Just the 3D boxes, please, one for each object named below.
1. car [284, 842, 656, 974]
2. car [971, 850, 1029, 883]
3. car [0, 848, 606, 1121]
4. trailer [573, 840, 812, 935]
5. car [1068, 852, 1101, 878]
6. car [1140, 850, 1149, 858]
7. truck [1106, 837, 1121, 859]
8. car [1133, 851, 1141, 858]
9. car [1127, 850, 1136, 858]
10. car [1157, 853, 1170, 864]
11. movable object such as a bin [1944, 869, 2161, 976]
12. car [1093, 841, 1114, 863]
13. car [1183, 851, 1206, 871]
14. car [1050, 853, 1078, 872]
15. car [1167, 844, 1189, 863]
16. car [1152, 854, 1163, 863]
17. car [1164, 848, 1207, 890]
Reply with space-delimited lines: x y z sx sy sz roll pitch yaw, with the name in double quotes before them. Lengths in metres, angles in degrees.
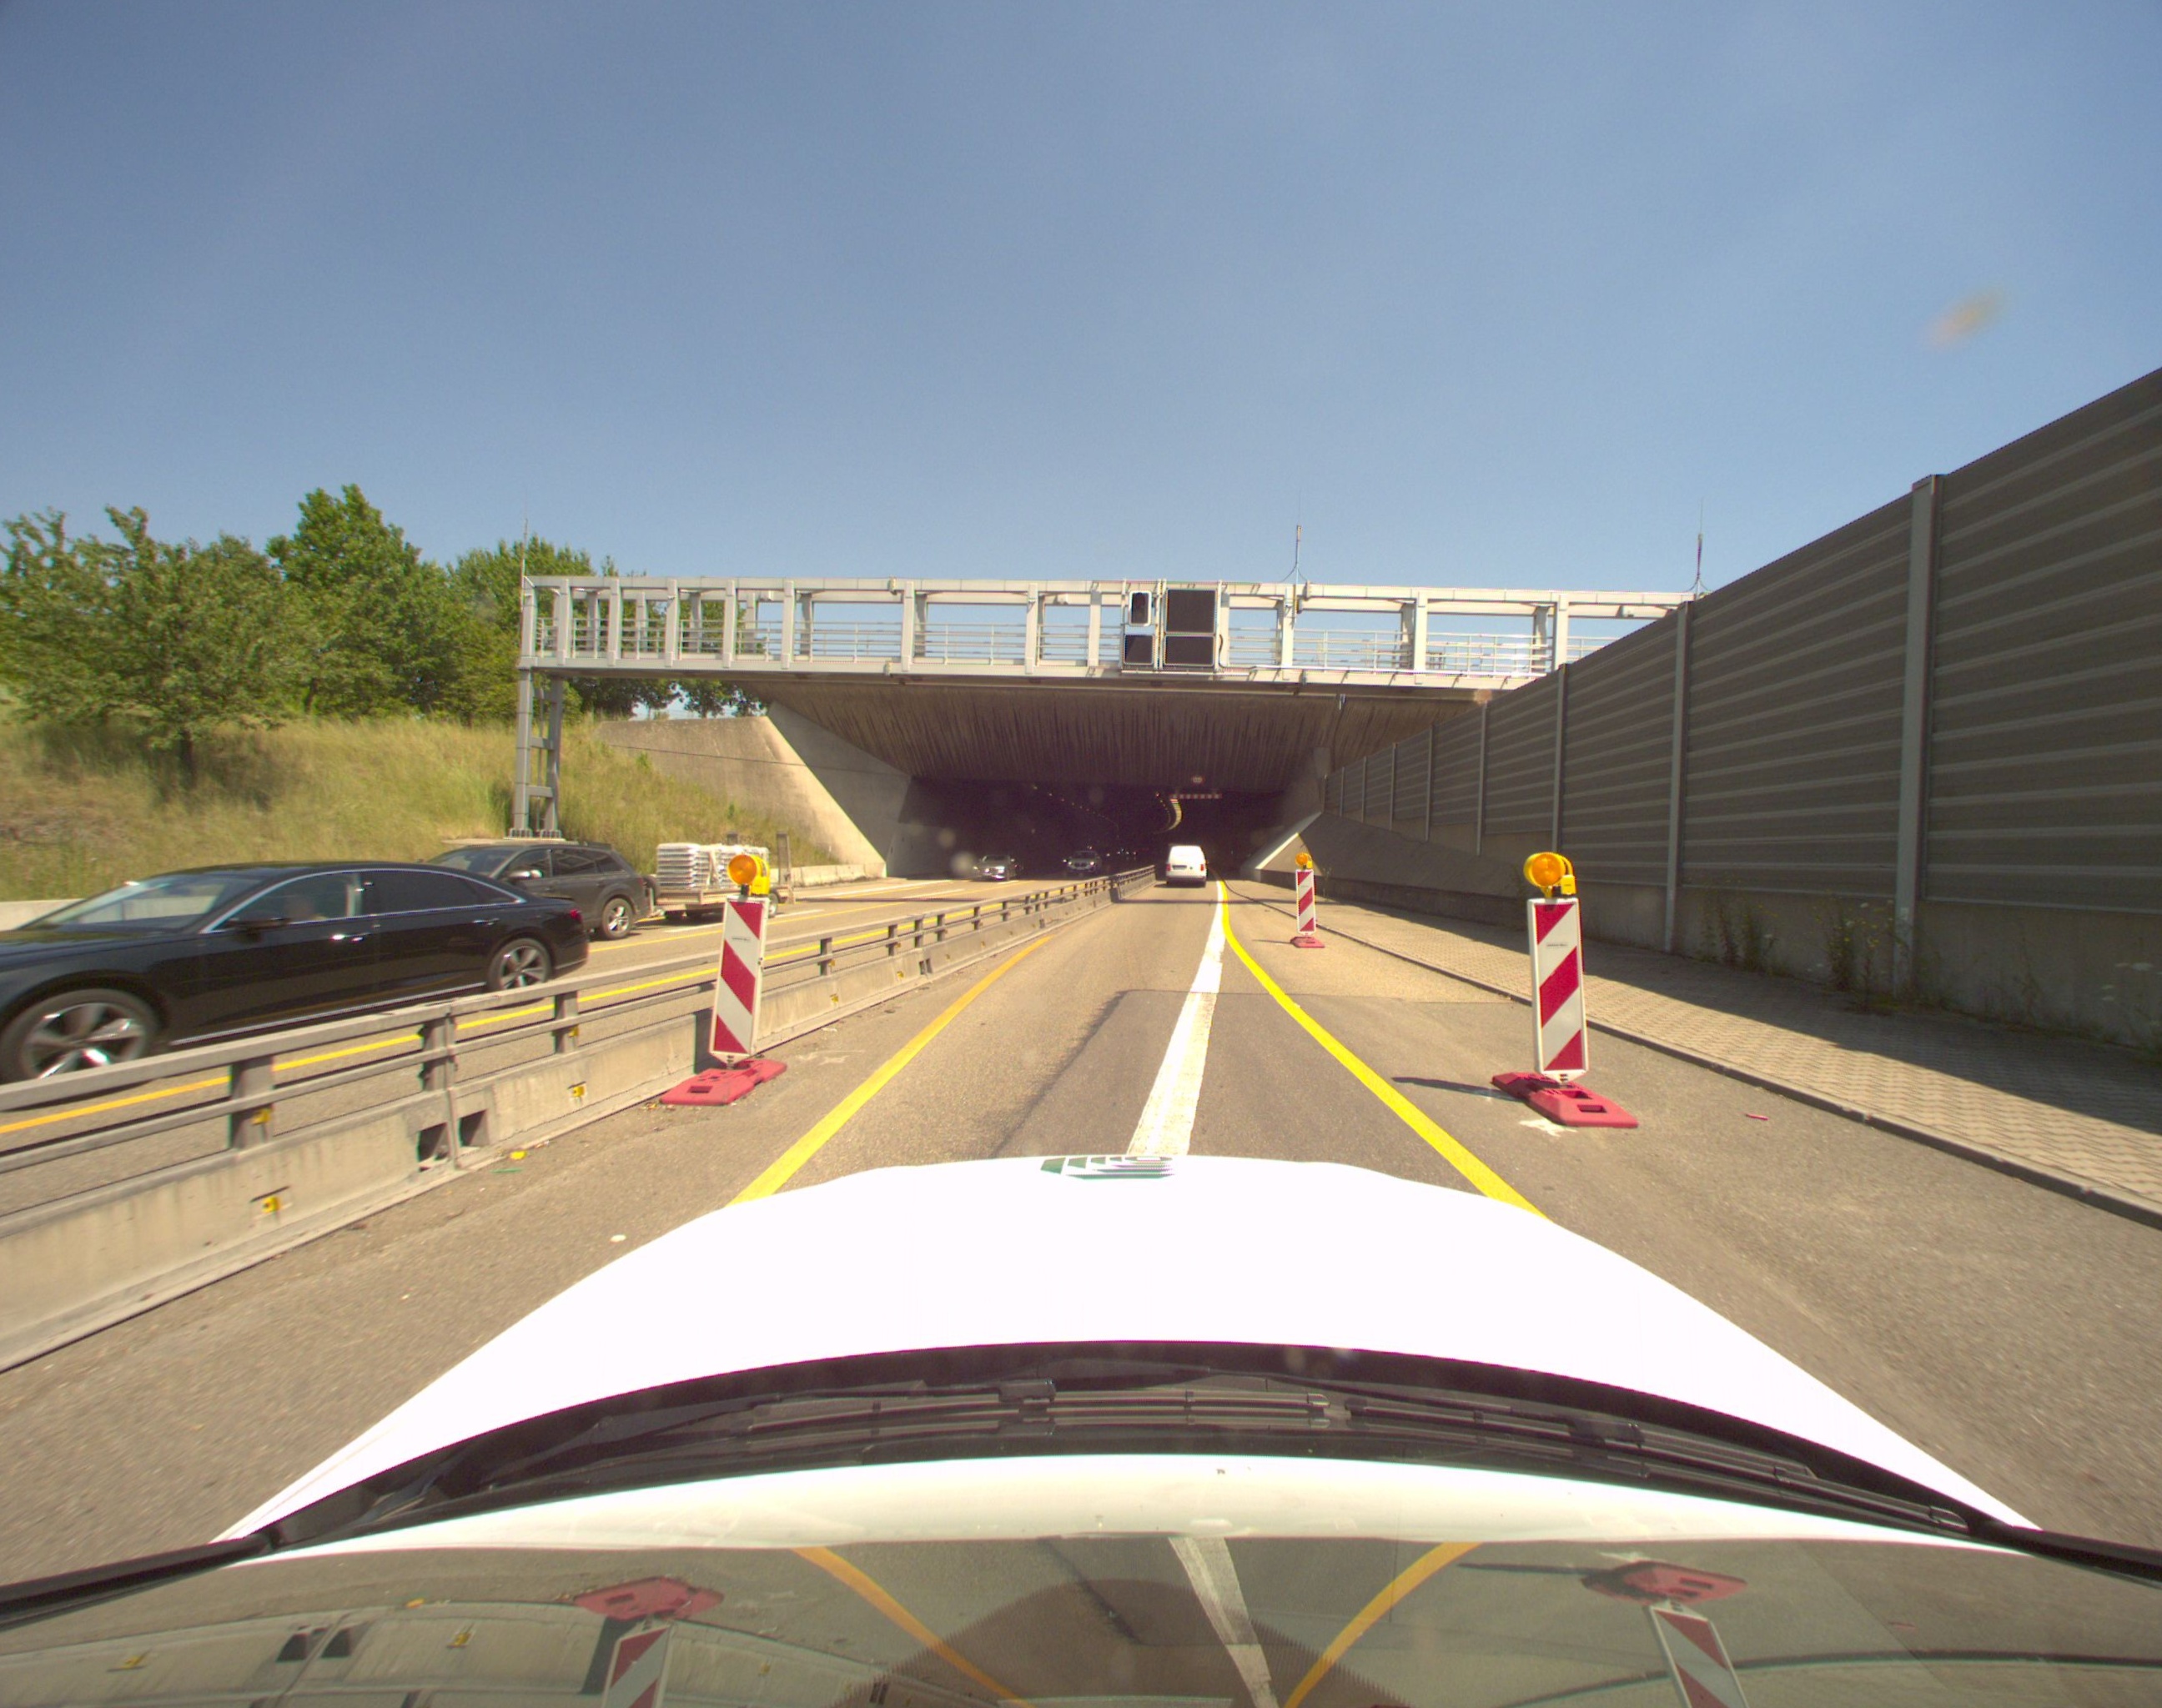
"car" -9.370 0.708 13.180 1.762 1.727 4.882 -1 0 11
"car" -4.255 0.641 43.454 1.762 1.666 4.821 -1 0 11
"car" -6.754 0.764 6.907 1.761 1.593 5.003 -1 0 12
"trailer" -8.383 0.635 18.353 1.934 1.805 5.539 -1 0 11
"car" 0.258 0.660 52.172 1.765 1.577 4.452 -1 0 5
"car" 16.941 -0.008 215.848 1.934 2.021 4.659 0 0 -1
"truck" 6.128 -1.135 153.136 2.798 3.915 6.462 0 0 3
"car" 16.522 0.186 239.804 2.067 2.021 4.659 0 0 -1
"car" 10.112 0.016 162.698 1.814 1.456 4.096 0 0 3
"car" 16.781 0.897 165.979 2.028 2.021 4.632 4 0 1
"movable object such as a bin" 32.430 1.995 21.870 3.100 3.011 14.701 1 -1 1
"car" 2.637 -0.237 94.365 1.983 2.515 6.052 -1 0 6
"car" 9.422 0.606 67.798 1.799 1.537 4.417 2 0 6
"car" -1.411 0.712 70.830 1.764 1.515 4.573 -1 0 7
"car" 15.390 -0.068 129.983 2.803 2.774 7.103 3 -1 2
"car" 17.034 0.958 181.643 1.934 2.021 4.659 0 0 -1
"car" 4.819 0.675 37.160 1.798 1.794 3.740 1 0 9
